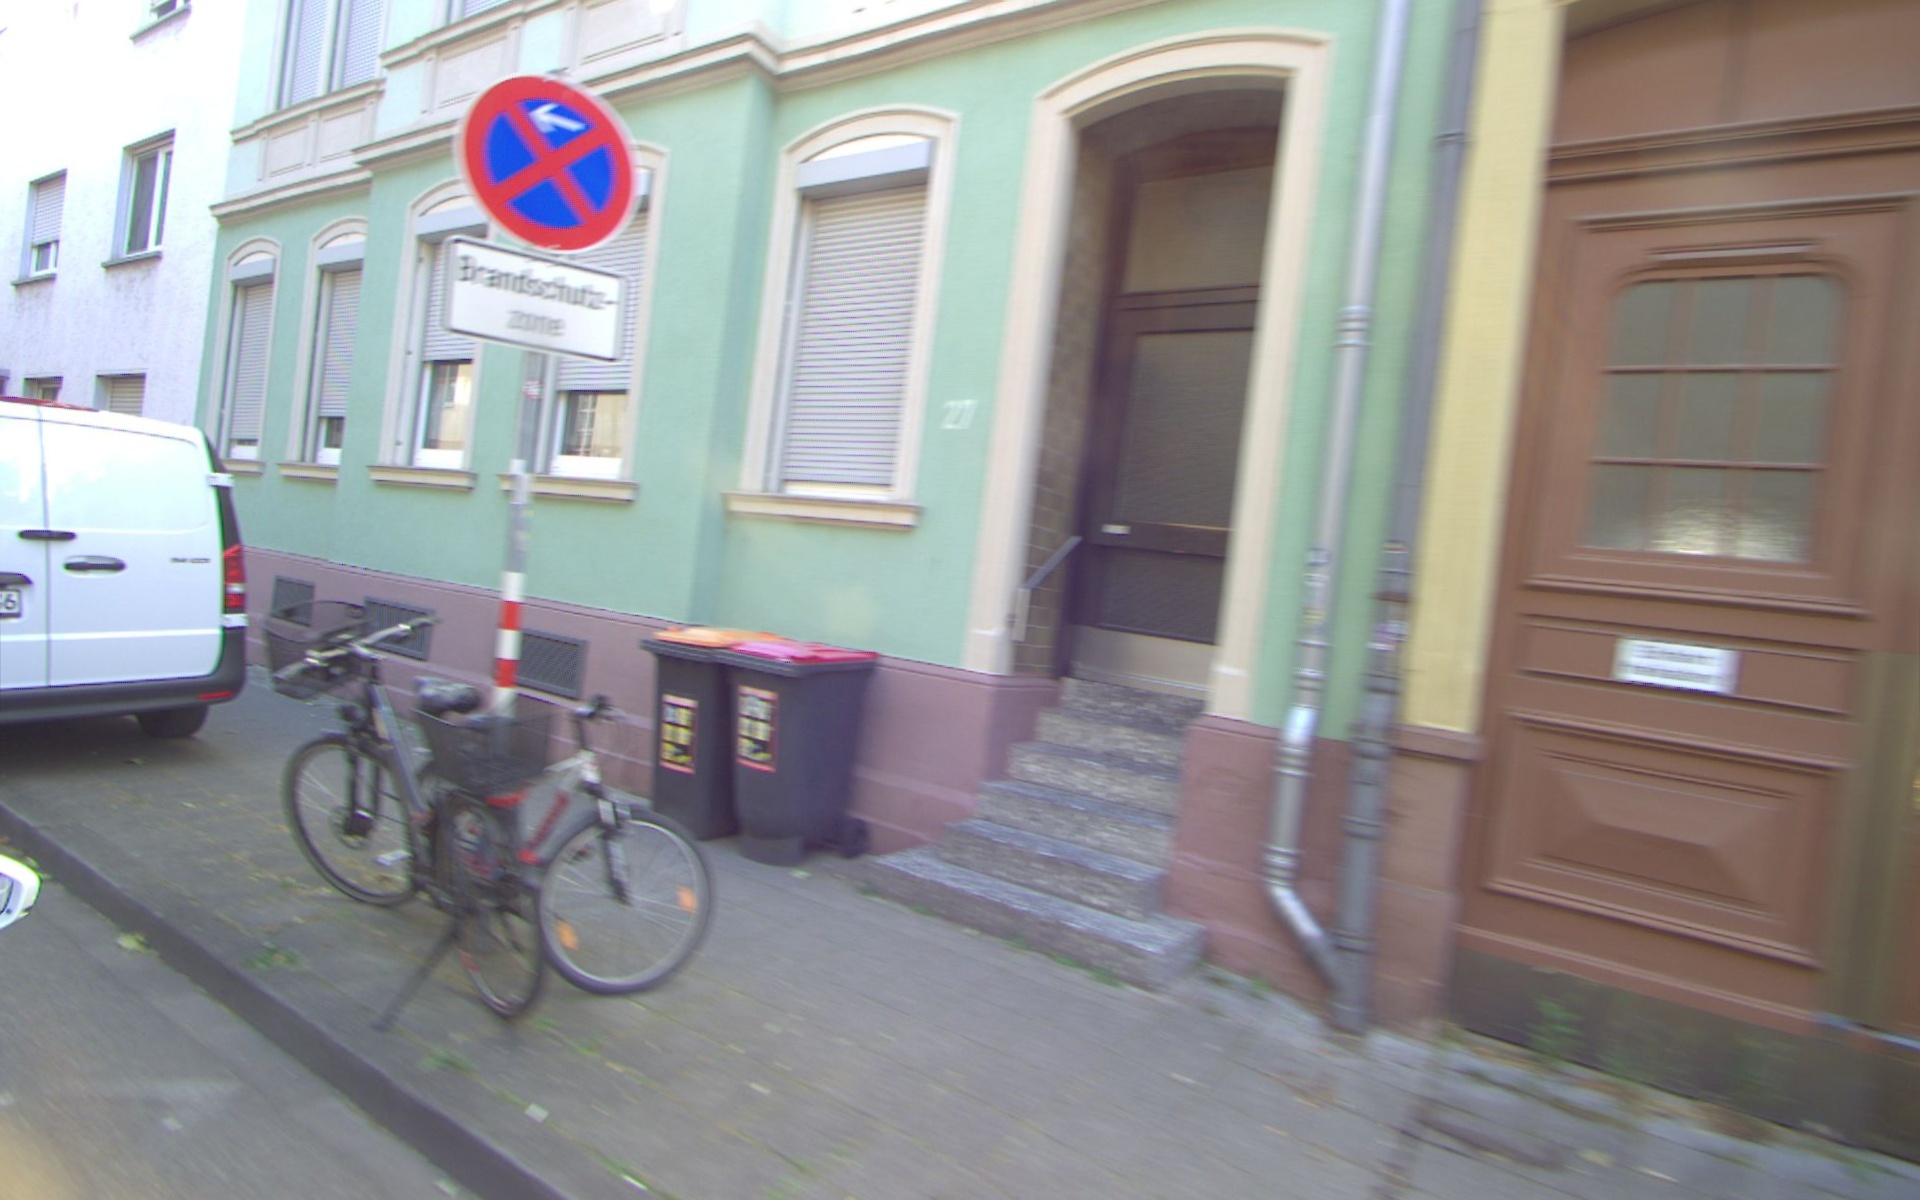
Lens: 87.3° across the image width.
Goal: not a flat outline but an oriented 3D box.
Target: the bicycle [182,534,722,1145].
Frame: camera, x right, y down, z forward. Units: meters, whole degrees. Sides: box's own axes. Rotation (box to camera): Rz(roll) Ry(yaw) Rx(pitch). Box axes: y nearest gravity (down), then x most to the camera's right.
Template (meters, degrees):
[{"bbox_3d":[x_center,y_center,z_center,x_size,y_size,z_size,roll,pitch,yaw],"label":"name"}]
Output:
[{"bbox_3d":[-1.768,0.549,3.265,2.165,1.337,0.574,7,1,37],"label":"bicycle"}]

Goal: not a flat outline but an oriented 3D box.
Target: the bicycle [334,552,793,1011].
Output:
[{"bbox_3d":[-1.675,0.549,3.988,2.166,1.288,0.574,7,2,37],"label":"bicycle"}]

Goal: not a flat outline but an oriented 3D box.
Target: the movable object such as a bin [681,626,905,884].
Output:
[{"bbox_3d":[-0.824,0.741,5.060,0.632,1.109,0.797,6,0,35],"label":"movable object such as a bin"}]

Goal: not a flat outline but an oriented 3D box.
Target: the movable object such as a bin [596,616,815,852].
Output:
[{"bbox_3d":[-1.361,0.693,5.444,0.663,1.101,0.813,6,0,35],"label":"movable object such as a bin"}]

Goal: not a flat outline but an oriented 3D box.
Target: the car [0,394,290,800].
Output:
[{"bbox_3d":[-6.671,-0.277,6.383,5.508,1.910,1.982,7,3,33],"label":"car"}]
